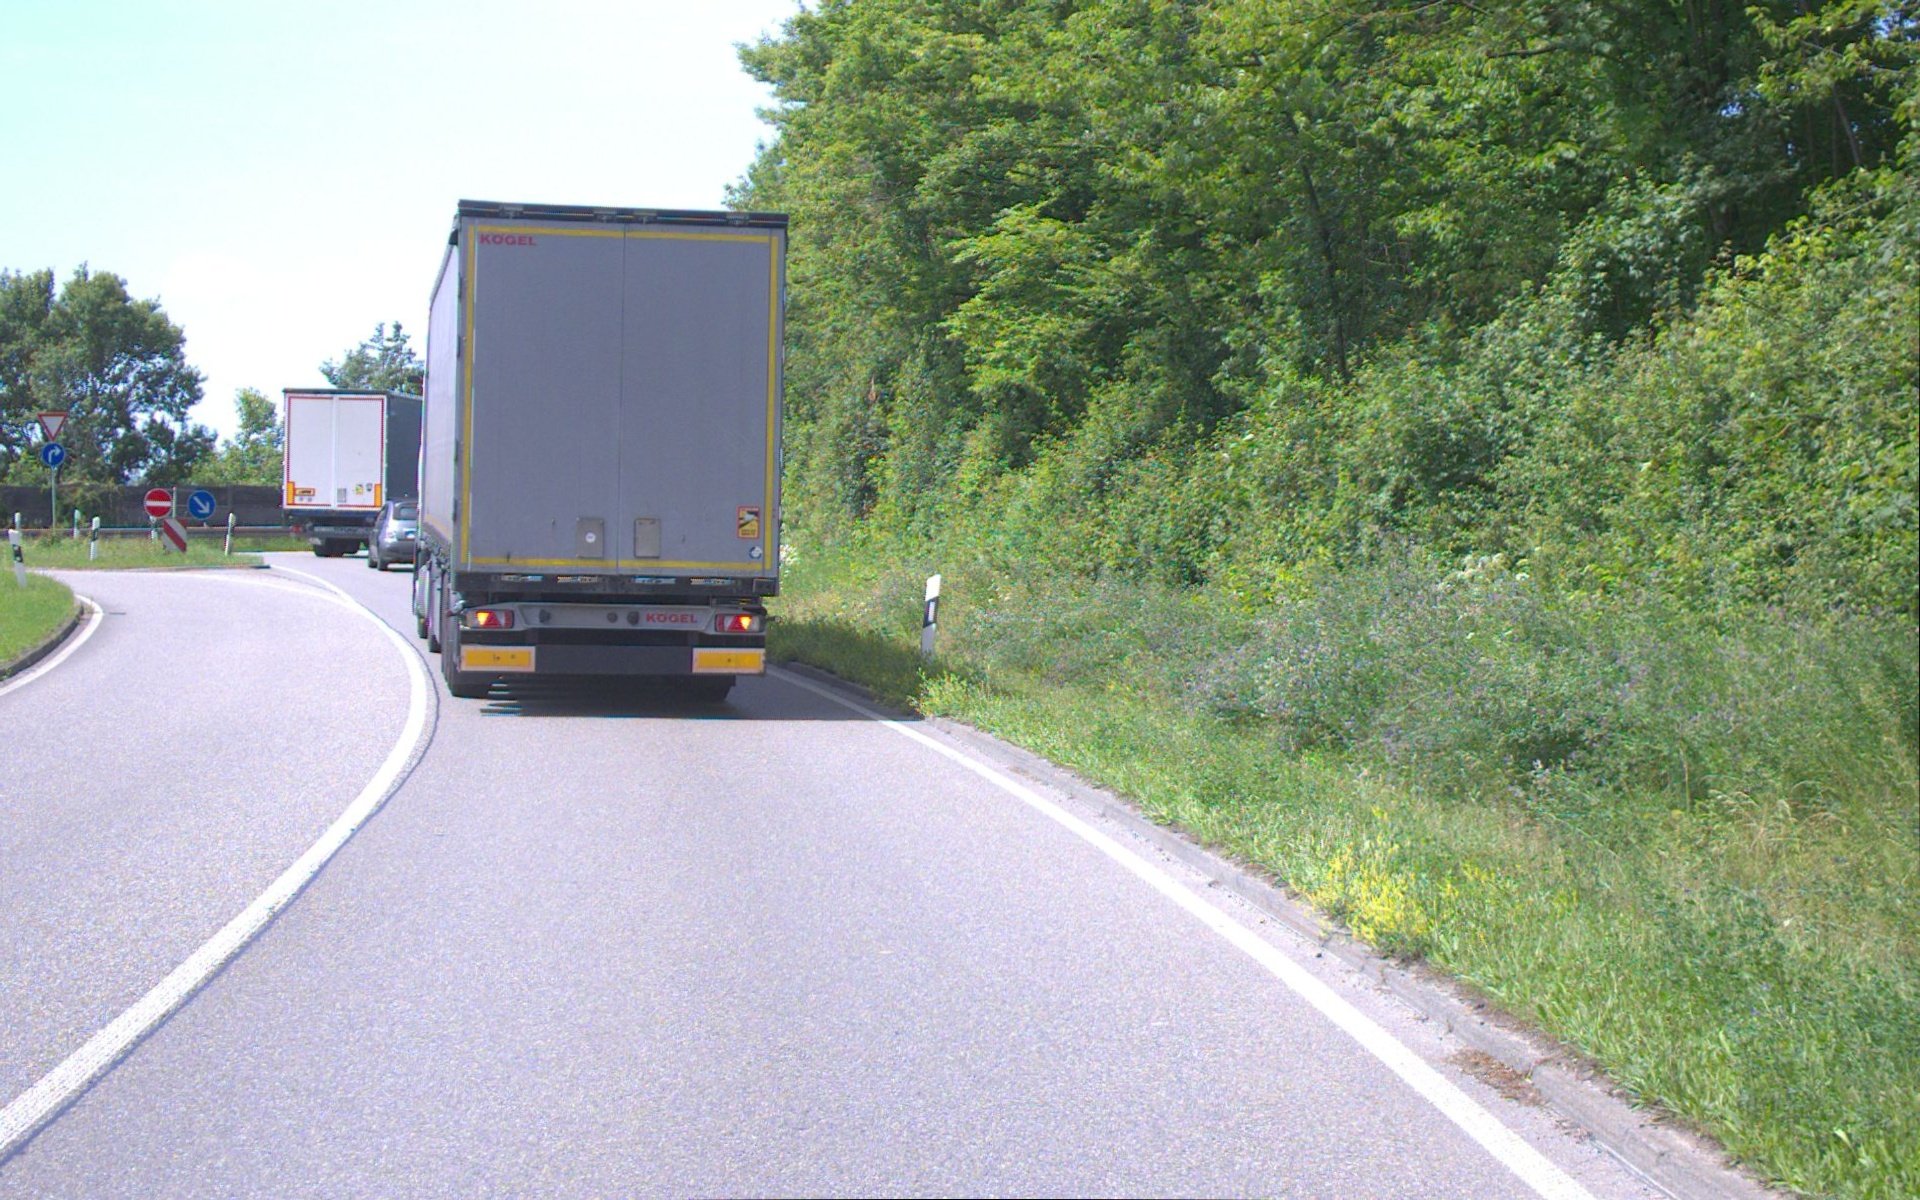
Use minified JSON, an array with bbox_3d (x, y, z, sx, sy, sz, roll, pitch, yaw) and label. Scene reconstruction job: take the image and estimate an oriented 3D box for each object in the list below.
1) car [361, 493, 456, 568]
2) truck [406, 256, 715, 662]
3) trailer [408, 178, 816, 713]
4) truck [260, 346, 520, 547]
[{"bbox_3d":[-11.566,-1.476,71.949,1.665,1.481,4.002,1,2,-13],"label":"car"},{"bbox_3d":[-4.787,-1.541,40.107,3.152,4.210,7.124,2,1,-9],"label":"truck"},{"bbox_3d":[-3.688,-1.295,32.987,3.026,4.021,13.356,1,1,-9],"label":"trailer"},{"bbox_3d":[-14.586,-3.838,89.802,3.828,4.728,16.204,1,1,1],"label":"truck"}]
